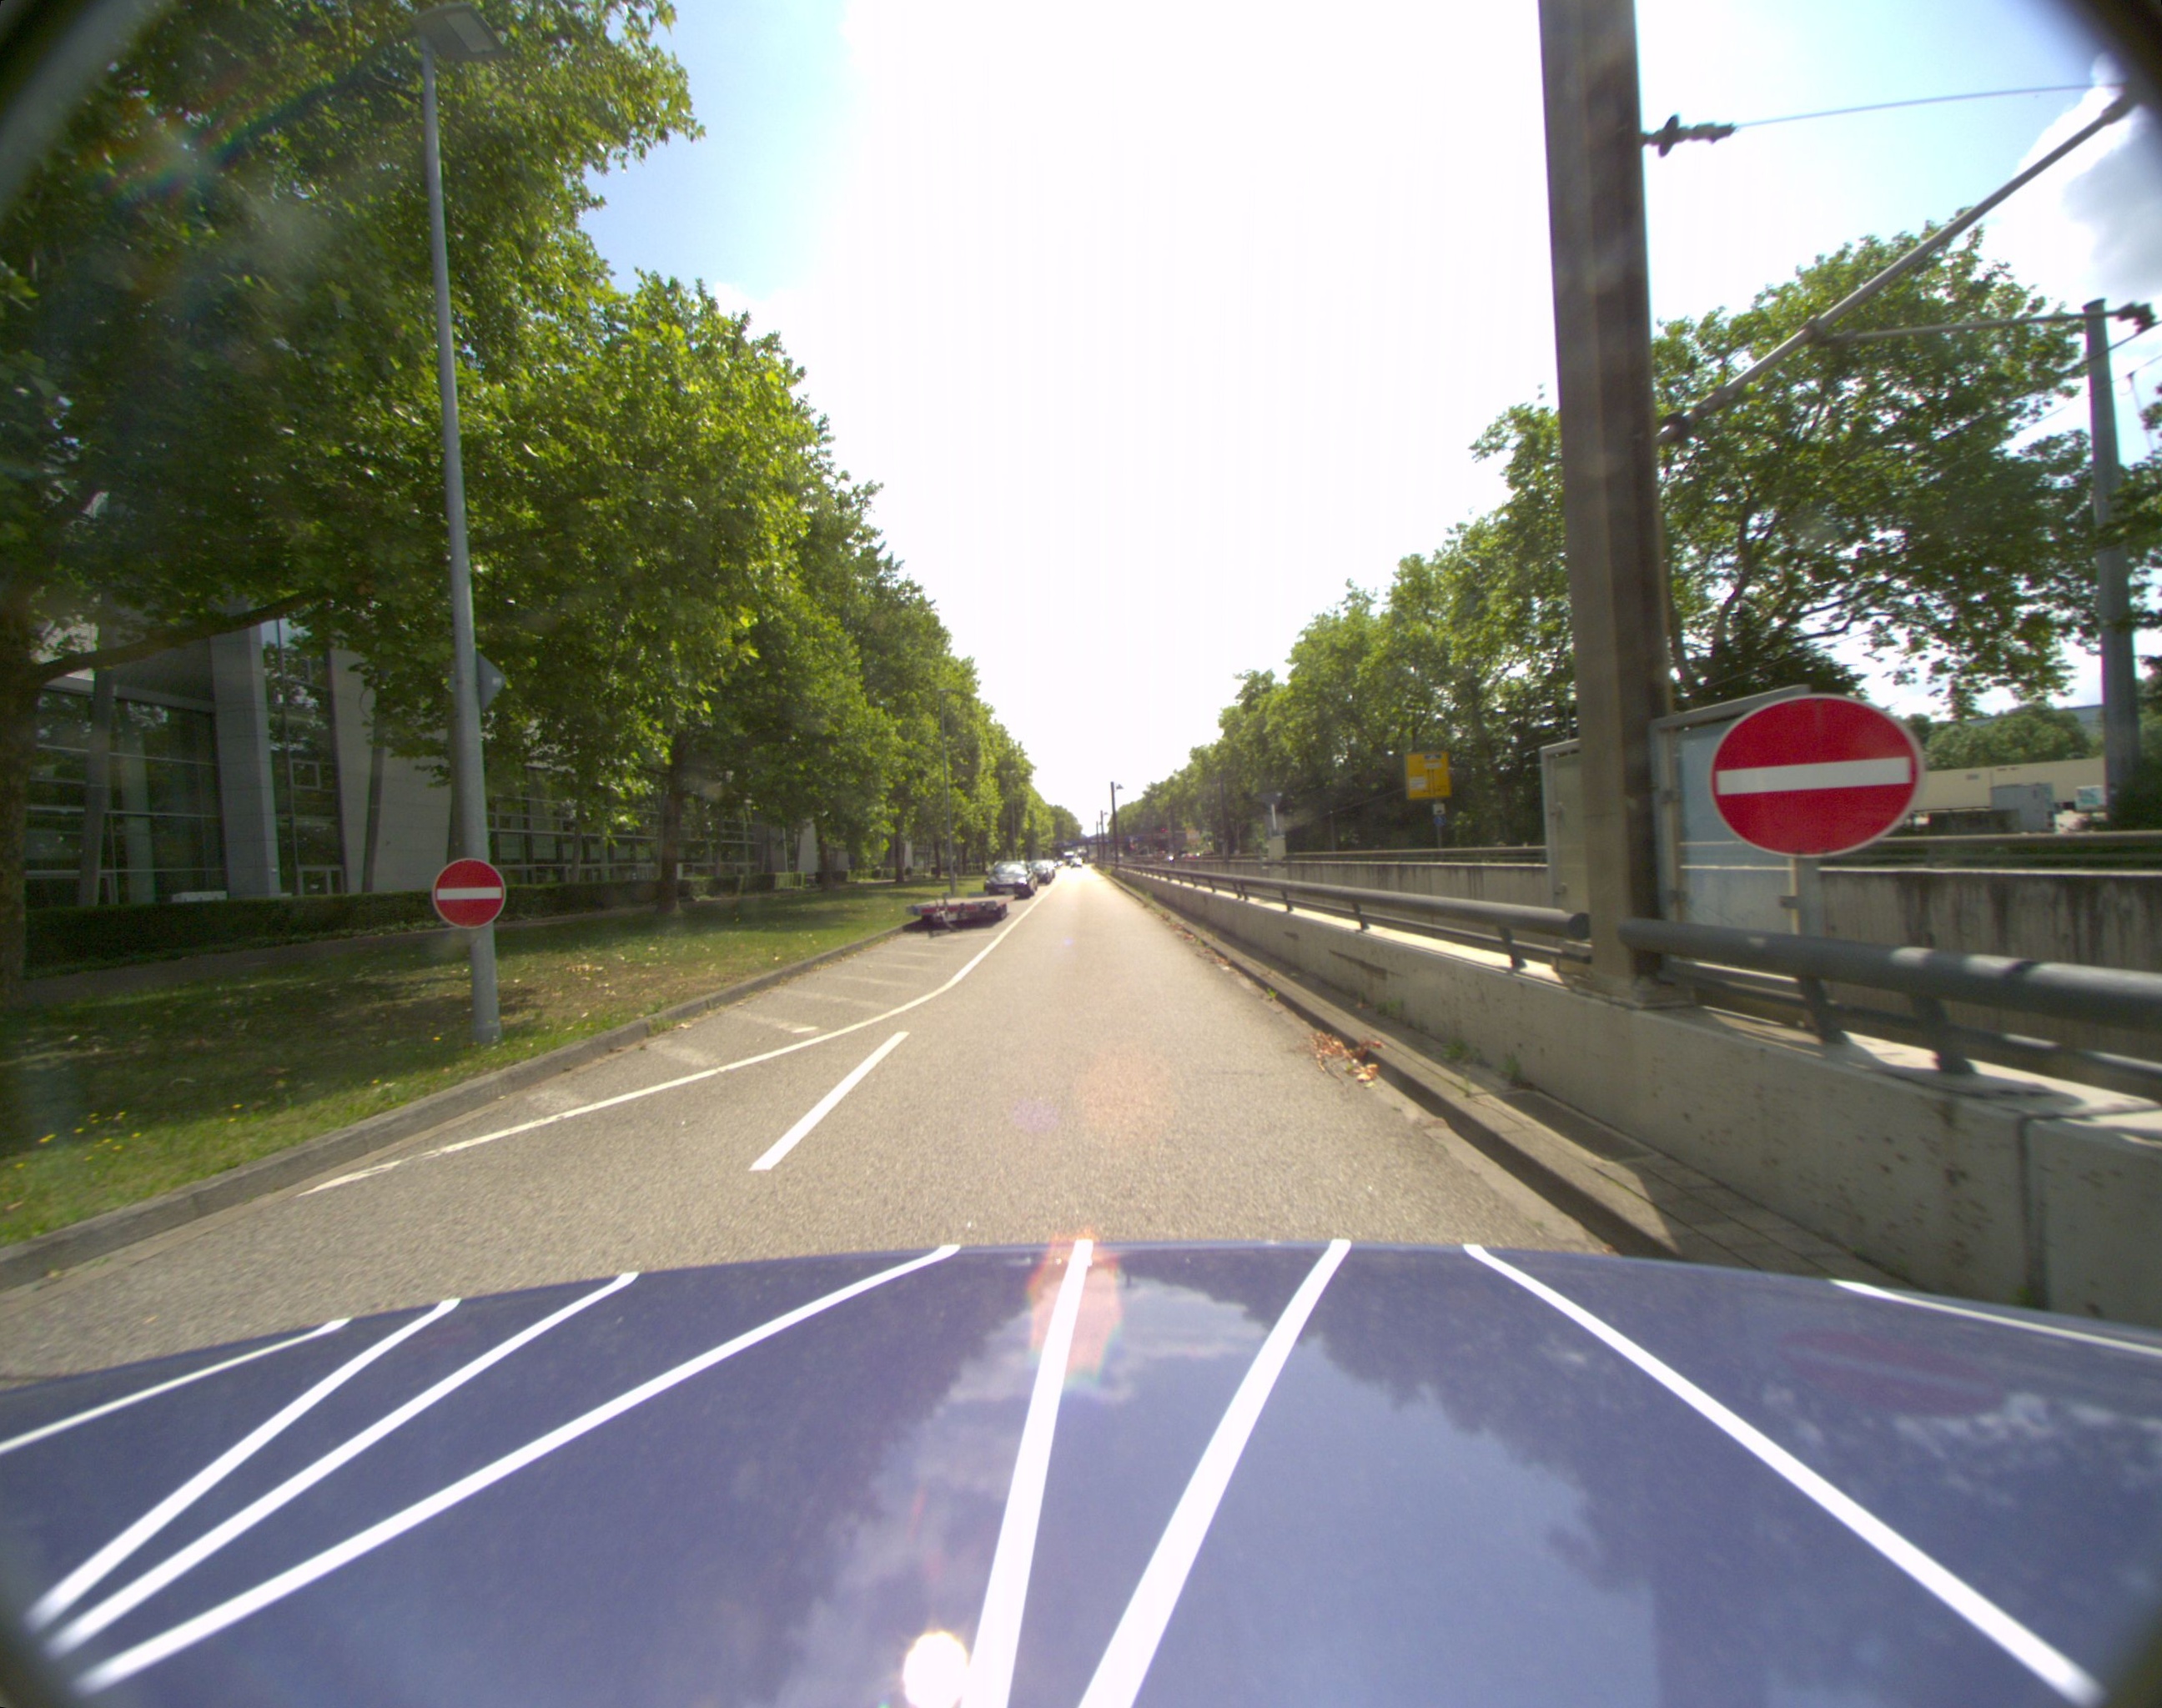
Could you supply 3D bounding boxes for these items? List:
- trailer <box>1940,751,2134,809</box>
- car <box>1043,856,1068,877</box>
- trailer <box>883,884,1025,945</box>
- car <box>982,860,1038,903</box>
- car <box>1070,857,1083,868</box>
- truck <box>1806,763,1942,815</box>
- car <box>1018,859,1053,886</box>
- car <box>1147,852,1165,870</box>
[{"bbox_3d":[71.706,-5.440,57.424,2.873,3.478,8.870,-3,1,-44],"label":"trailer"},{"bbox_3d":[-2.029,0.998,61.704,1.809,1.496,3.734,-4,1,1],"label":"car"},{"bbox_3d":[-2.908,1.396,19.280,2.303,0.823,6.820,-3,0,1],"label":"trailer"},{"bbox_3d":[-2.850,1.085,31.347,1.809,1.496,3.734,-4,1,1],"label":"car"},{"bbox_3d":[-0.697,1.404,123.608,1.998,1.710,4.304,-2,1,1],"label":"car"},{"bbox_3d":[65.864,-5.312,63.368,3.065,3.640,7.704,-3,1,-44],"label":"truck"},{"bbox_3d":[-2.825,1.130,47.451,1.809,1.496,3.734,-4,1,1],"label":"car"},{"bbox_3d":[8.464,0.772,86.141,1.713,1.870,4.095,-2,1,1],"label":"car"}]
